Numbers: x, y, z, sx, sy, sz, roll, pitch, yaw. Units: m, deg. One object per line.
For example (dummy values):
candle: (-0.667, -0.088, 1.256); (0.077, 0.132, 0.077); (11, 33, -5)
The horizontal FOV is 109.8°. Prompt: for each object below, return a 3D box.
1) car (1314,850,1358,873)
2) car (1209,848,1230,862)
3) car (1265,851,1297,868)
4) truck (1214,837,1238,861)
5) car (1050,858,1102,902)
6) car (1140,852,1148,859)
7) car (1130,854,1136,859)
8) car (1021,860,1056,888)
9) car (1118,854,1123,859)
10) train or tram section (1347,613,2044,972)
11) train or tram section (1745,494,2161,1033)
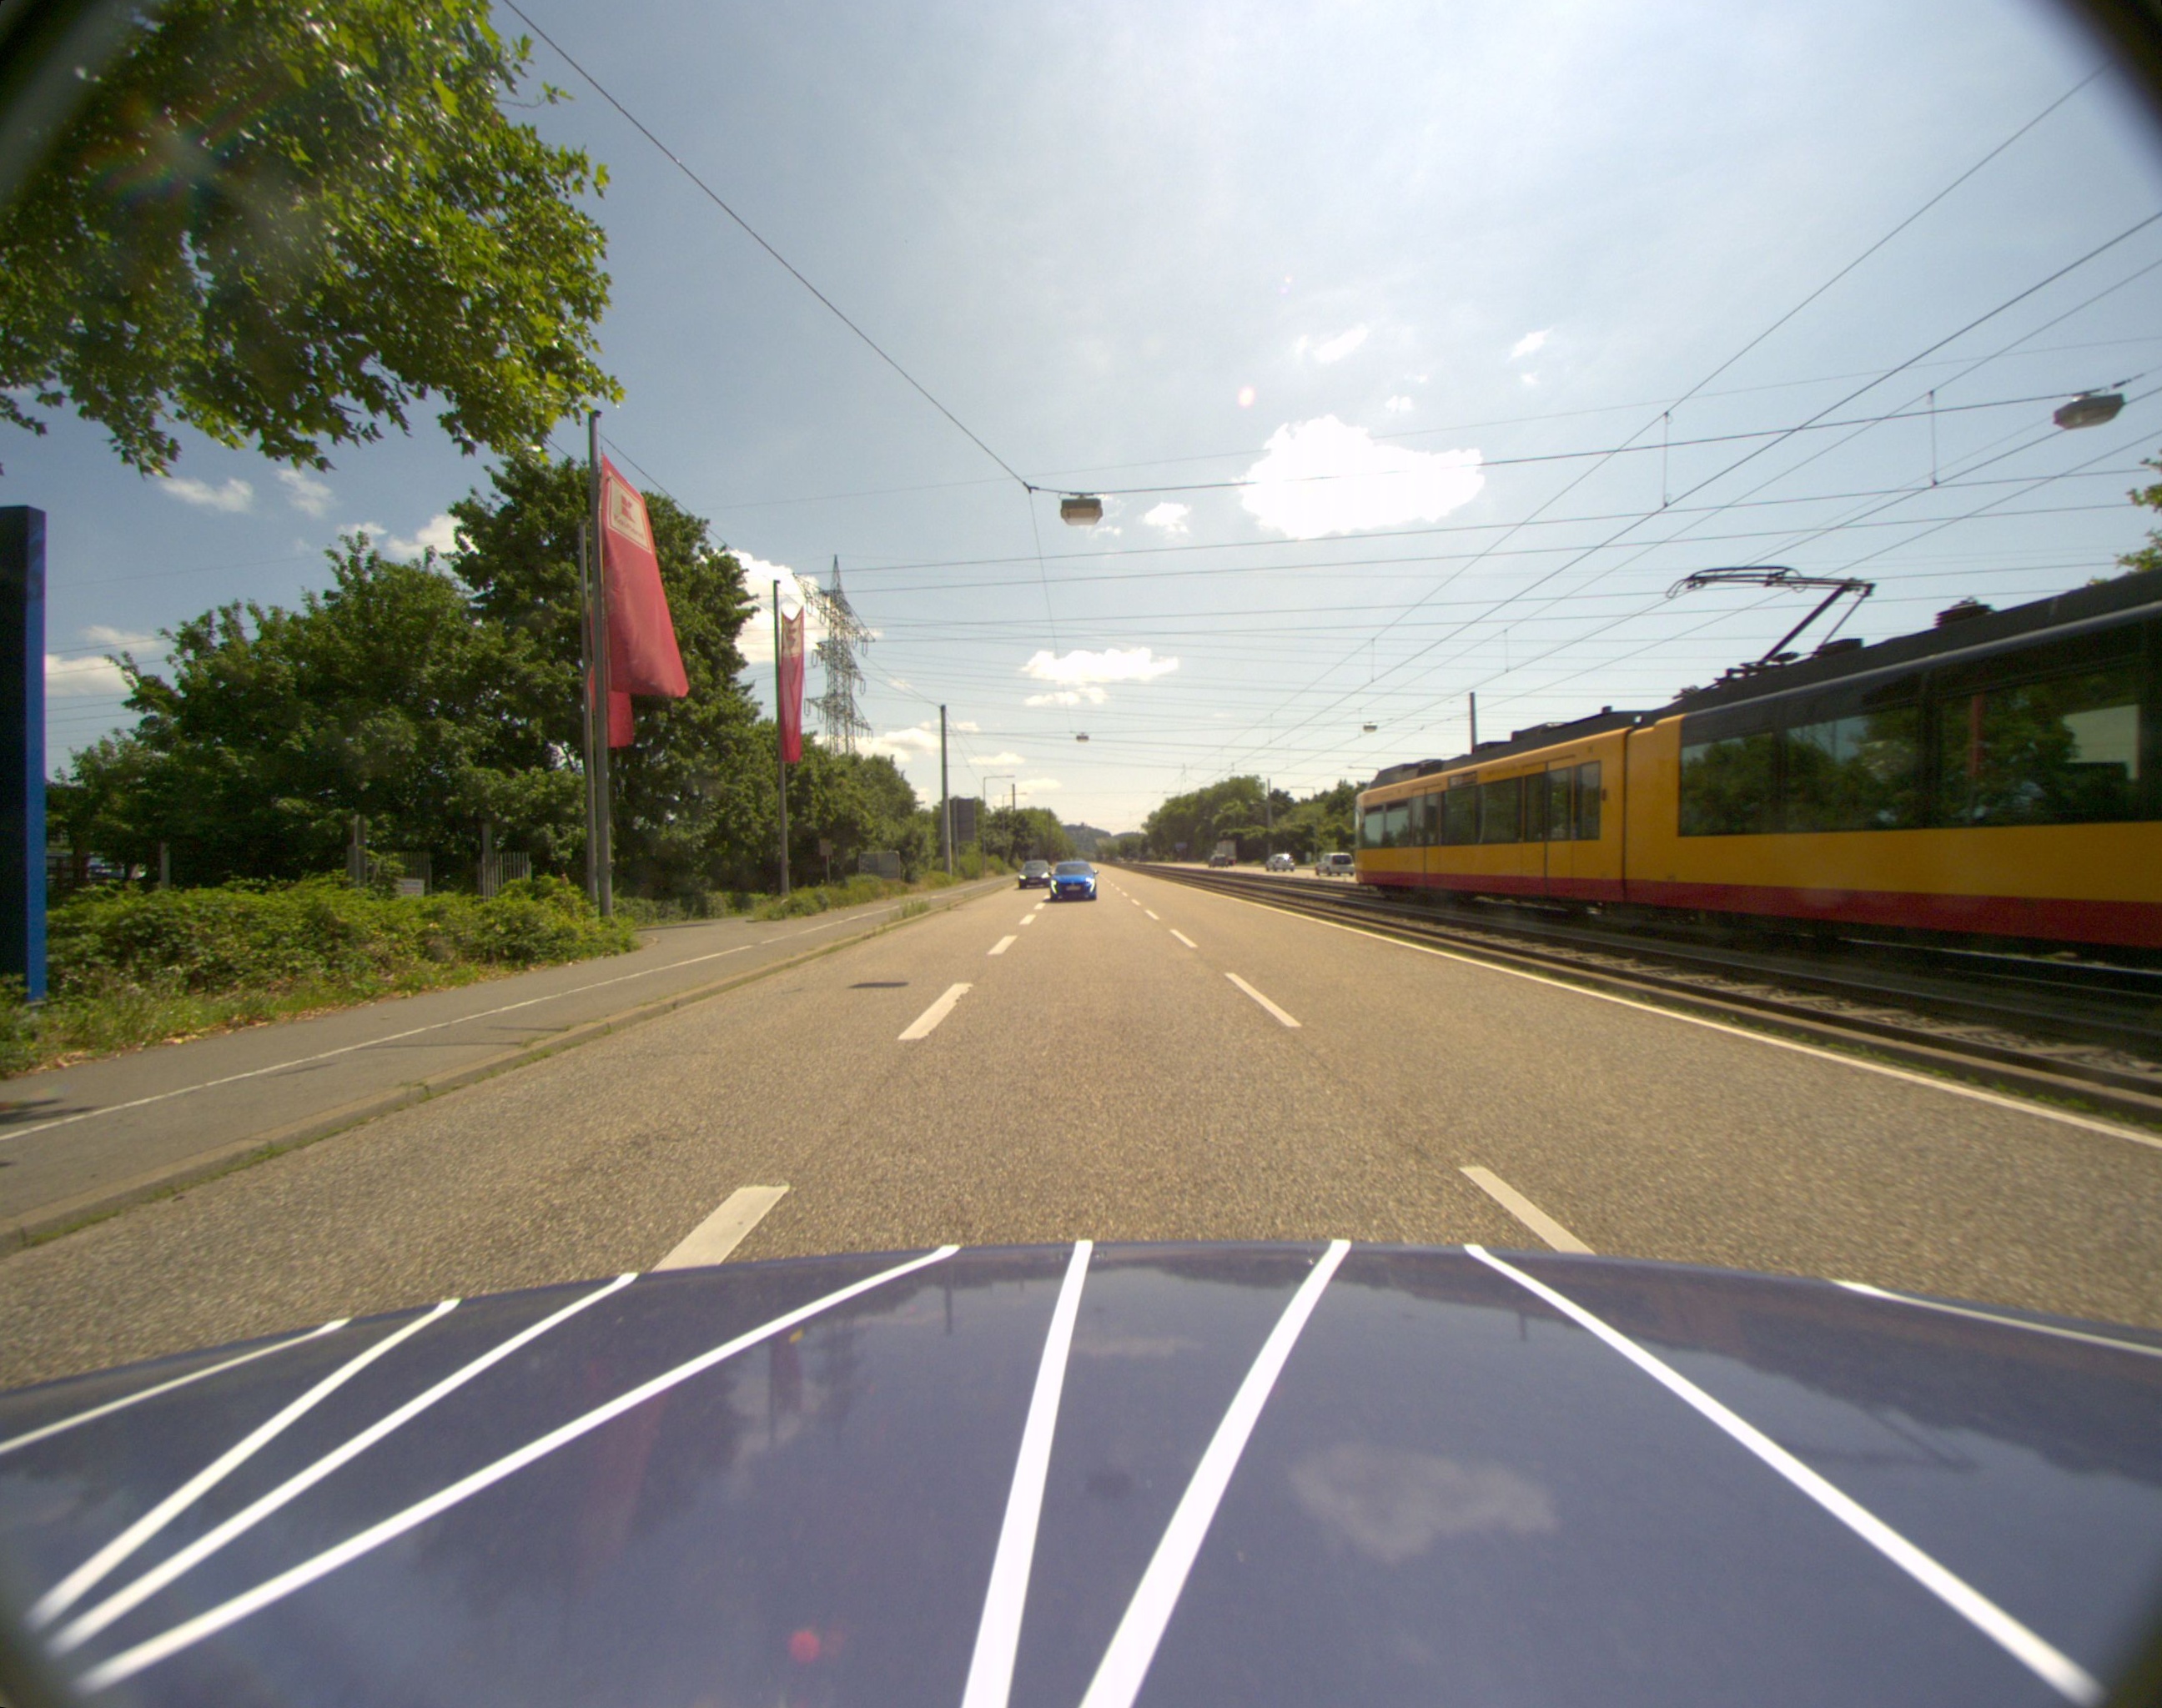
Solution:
car: (16.497, 0.488, 49.311); (1.641, 1.428, 3.721); (0, 0, 0)
car: (16.317, 0.125, 89.790); (1.757, 1.526, 3.956); (-1, 0, -1)
car: (16.956, 0.467, 64.570); (1.641, 1.413, 4.127); (-1, 0, 1)
truck: (19.945, -0.631, 104.970); (2.255, 3.217, 6.042); (-1, 0, 2)
car: (-0.171, 0.945, 29.400); (1.771, 1.463, 4.467); (-3, 0, 0)
car: (16.903, 0.305, 204.821); (1.862, 1.916, 5.007); (0, 0, 0)
car: (17.729, 0.872, 260.345); (1.806, 1.616, 4.211); (0, 0, 0)
car: (-2.401, 1.122, 43.829); (1.771, 1.422, 4.000); (-3, 0, 0)
car: (13.842, 0.941, 266.148); (1.806, 1.616, 4.494); (0, 0, 0)
train or tram section: (10.110, -0.744, 16.870); (3.056, 4.242, 15.422); (-1, 0, 0)
train or tram section: (10.053, -0.739, 5.729); (3.056, 4.242, 8.002); (-1, 0, 0)
